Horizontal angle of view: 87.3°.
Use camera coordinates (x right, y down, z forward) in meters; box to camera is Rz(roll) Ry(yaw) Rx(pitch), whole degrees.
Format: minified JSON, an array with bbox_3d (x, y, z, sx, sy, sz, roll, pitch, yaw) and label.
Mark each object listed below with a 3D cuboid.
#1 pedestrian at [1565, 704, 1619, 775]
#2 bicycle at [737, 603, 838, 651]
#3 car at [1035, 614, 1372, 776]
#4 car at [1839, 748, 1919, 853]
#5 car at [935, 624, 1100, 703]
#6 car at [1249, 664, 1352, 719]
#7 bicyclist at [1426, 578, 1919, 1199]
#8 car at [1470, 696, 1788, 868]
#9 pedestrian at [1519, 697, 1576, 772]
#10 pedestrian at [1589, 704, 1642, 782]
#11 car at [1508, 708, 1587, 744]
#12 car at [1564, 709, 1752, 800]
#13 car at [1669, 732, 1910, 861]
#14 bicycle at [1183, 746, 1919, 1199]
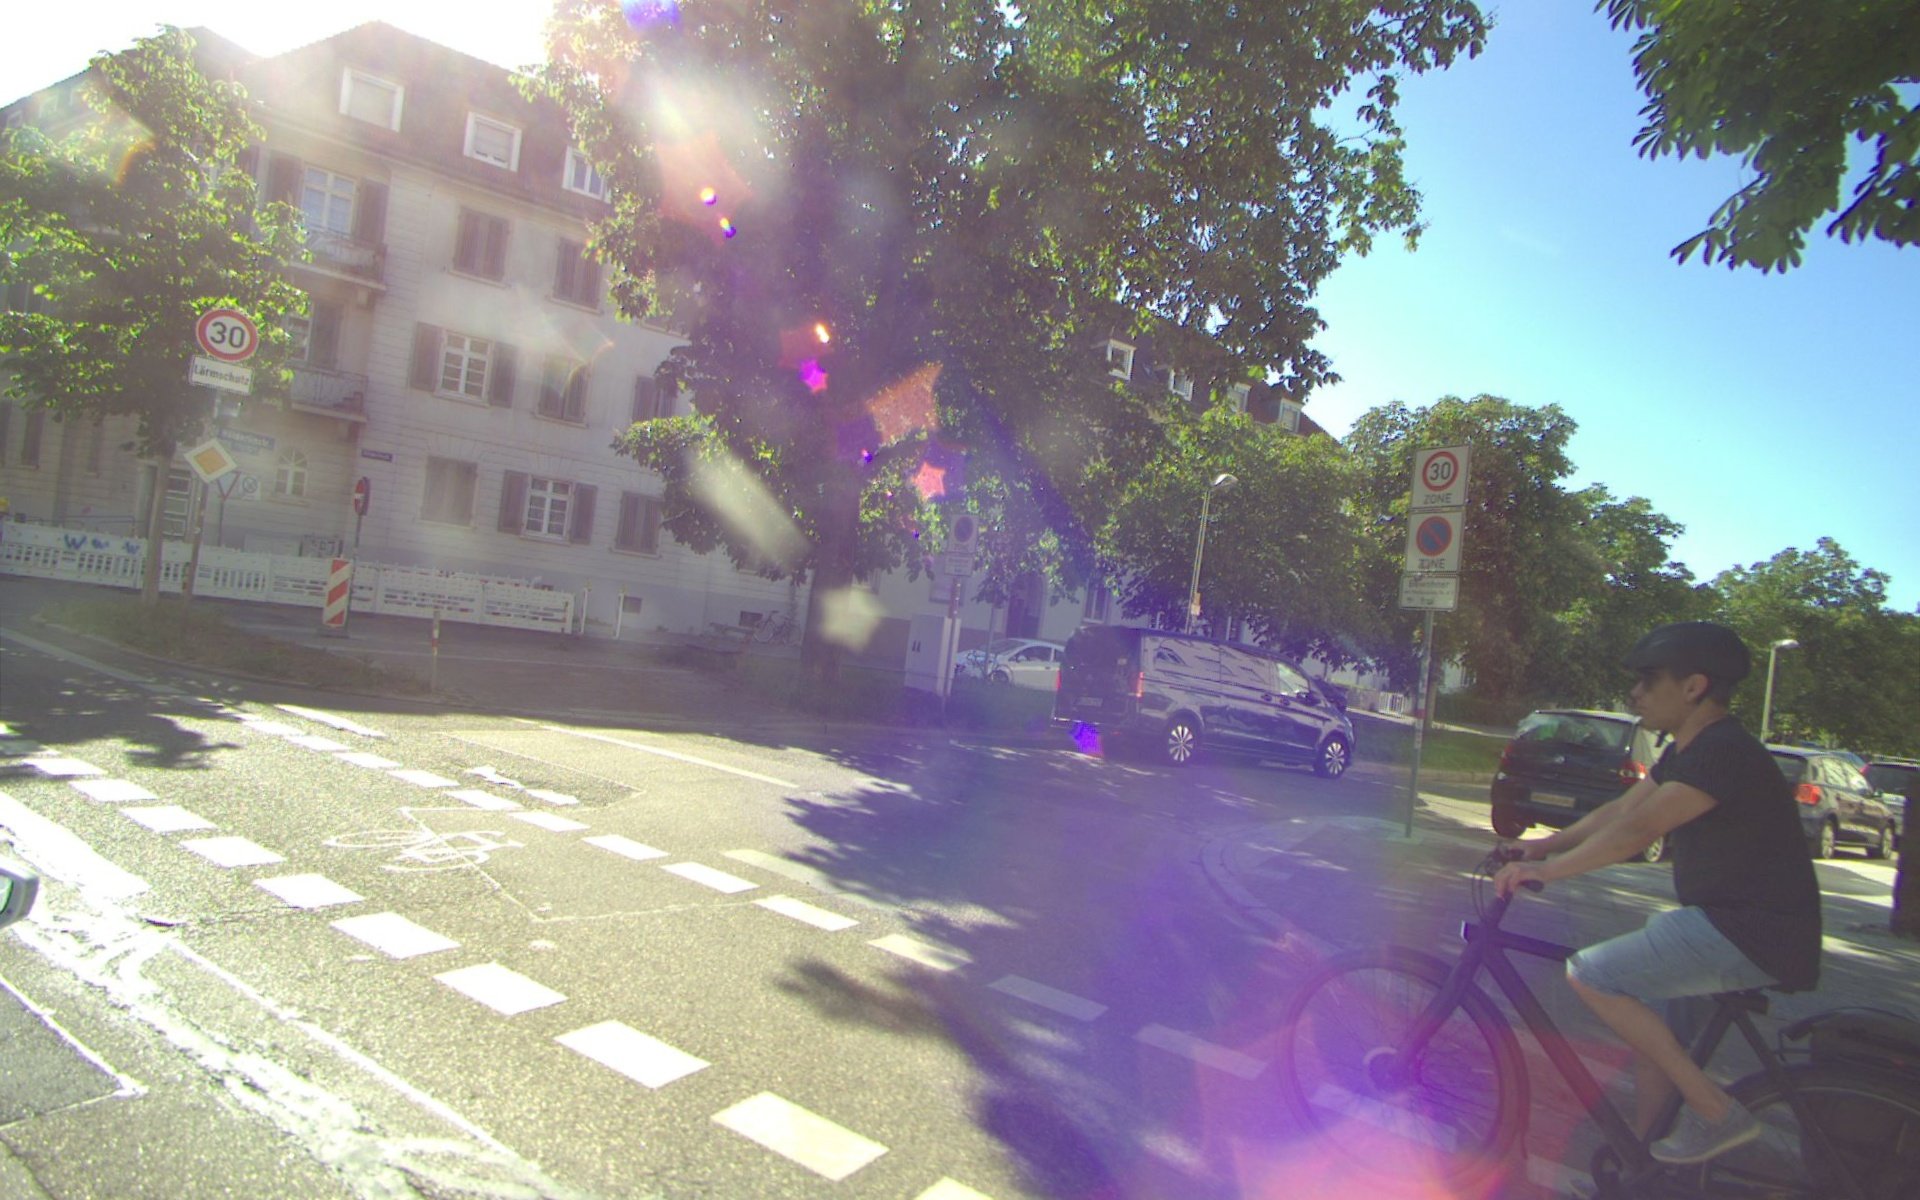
[{"bbox_3d":[15.555,3.425,24.778,0.569,1.586,0.836,8,-1,-35],"label":"pedestrian"},{"bbox_3d":[-5.464,0.874,32.029,3.082,1.127,0.521,8,2,-33],"label":"bicycle"},{"bbox_3d":[3.817,1.495,15.384,5.019,1.911,1.984,9,-3,-33],"label":"car"},{"bbox_3d":[16.585,3.464,17.109,3.466,1.517,1.427,8,-3,-31],"label":"car"},{"bbox_3d":[1.541,1.691,26.680,3.934,1.505,1.770,8,1,-33],"label":"car"},{"bbox_3d":[13.706,3.691,40.470,3.833,1.673,1.770,8,1,-33],"label":"car"},{"bbox_3d":[1.958,0.907,2.724,1.029,1.758,0.763,7,-1,31],"label":"bicyclist"},{"bbox_3d":[7.696,2.079,11.527,3.405,1.554,1.710,8,-4,-31],"label":"car"},{"bbox_3d":[13.601,3.109,23.300,0.569,1.586,0.836,8,-1,-35],"label":"pedestrian"},{"bbox_3d":[16.836,3.666,25.848,0.569,1.863,0.835,8,-1,-35],"label":"pedestrian"},{"bbox_3d":[29.460,6.321,50.451,3.833,1.236,1.792,8,1,-33],"label":"car"},{"bbox_3d":[16.211,3.589,23.310,4.576,1.627,1.920,9,-3,-33],"label":"car"},{"bbox_3d":[11.723,2.769,14.186,3.325,1.414,1.560,8,-3,-31],"label":"car"},{"bbox_3d":[1.810,1.218,2.783,2.061,1.256,0.763,7,-2,31],"label":"bicycle"}]
